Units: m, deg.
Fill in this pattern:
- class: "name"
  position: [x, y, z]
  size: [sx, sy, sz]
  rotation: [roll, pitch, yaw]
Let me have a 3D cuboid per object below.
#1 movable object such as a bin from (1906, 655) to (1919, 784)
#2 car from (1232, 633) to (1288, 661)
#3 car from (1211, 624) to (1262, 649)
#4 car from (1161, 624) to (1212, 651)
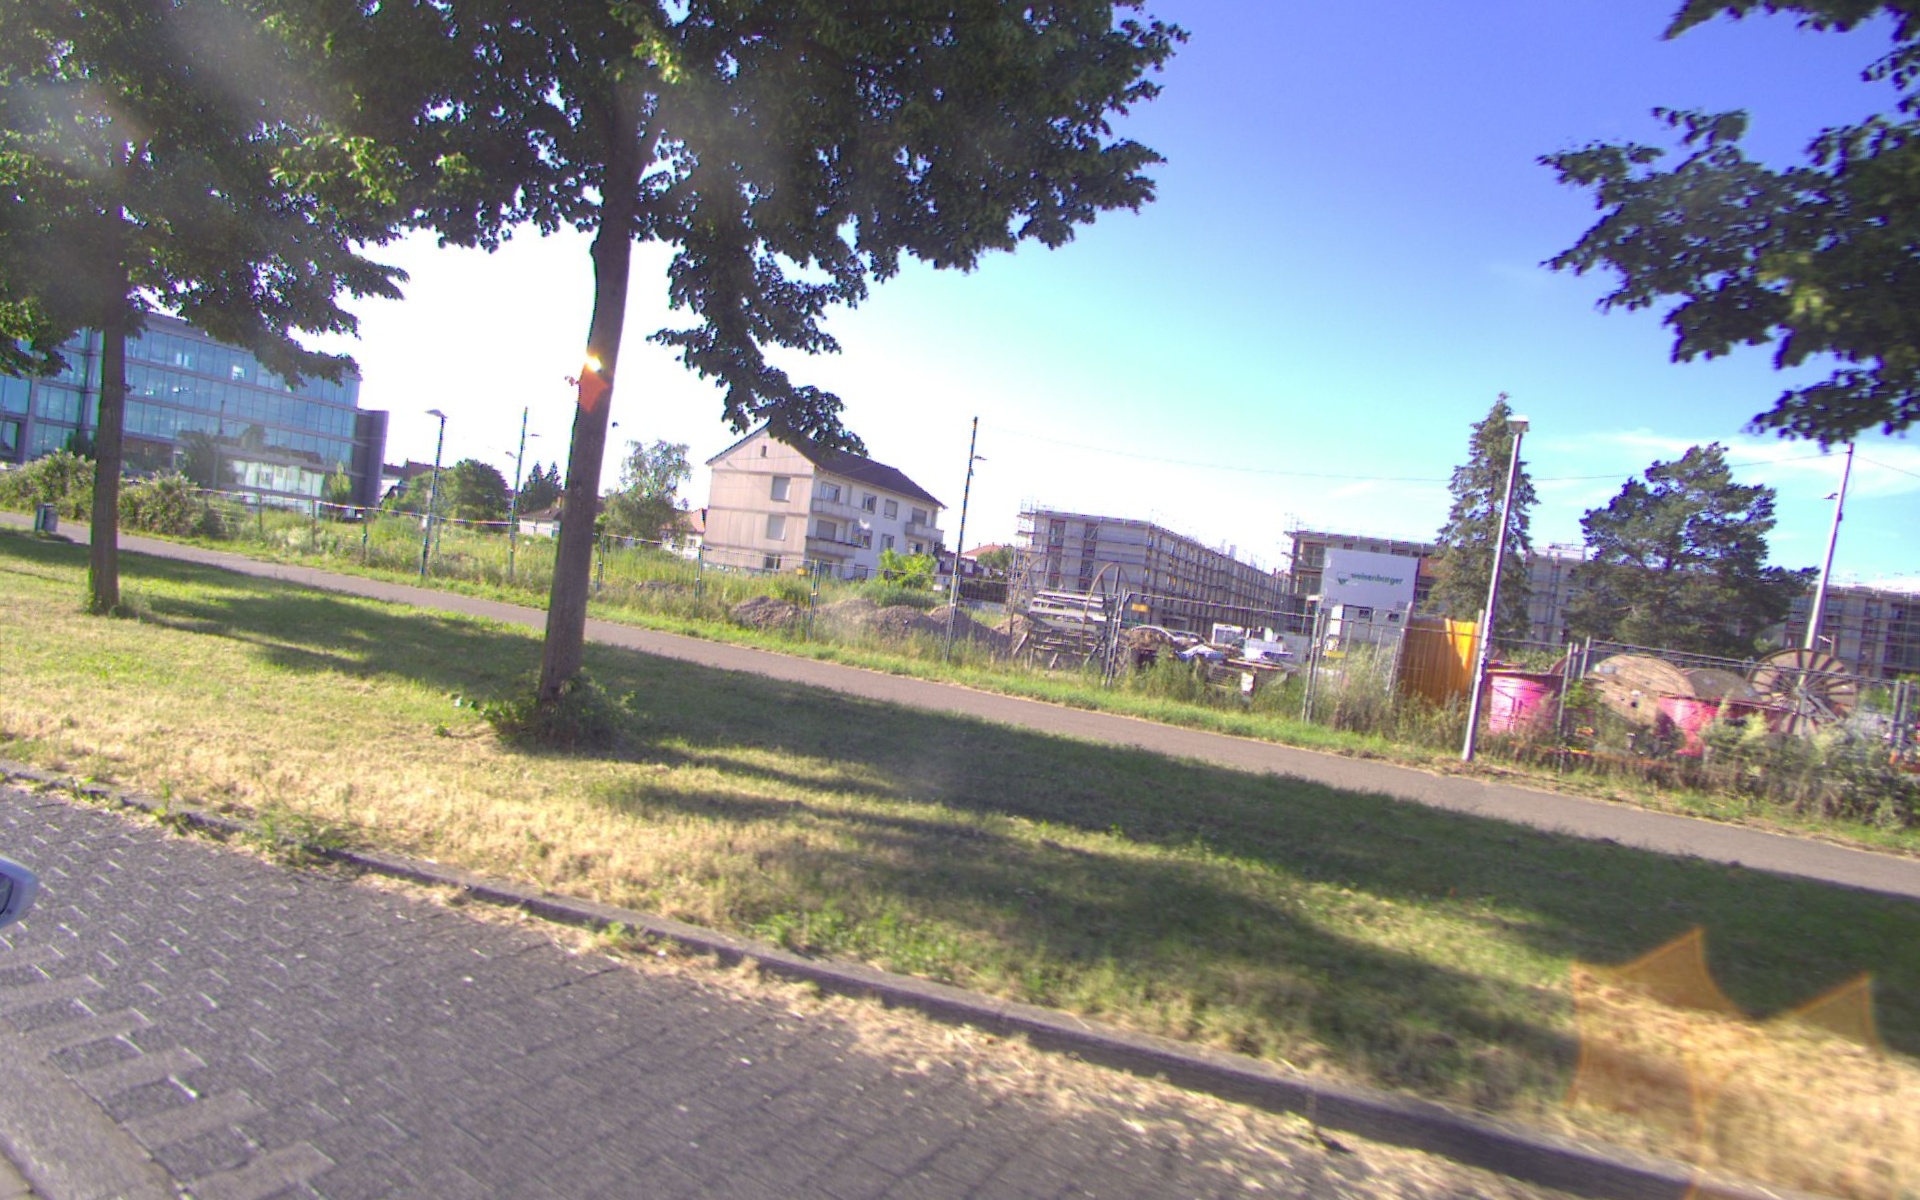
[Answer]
- class: "movable object such as a bin"
  position: [15.663, 1.906, 15.024]
  size: [1.760, 2.038, 1.797]
  rotation: [6, -1, 33]
- class: "car"
  position: [22.168, 3.459, 74.324]
  size: [3.588, 1.637, 1.623]
  rotation: [6, -1, 26]
- class: "car"
  position: [23.337, 3.108, 85.007]
  size: [3.924, 1.637, 1.834]
  rotation: [6, -1, 15]
- class: "car"
  position: [18.182, 3.018, 80.732]
  size: [3.708, 1.638, 1.700]
  rotation: [7, 1, 15]
